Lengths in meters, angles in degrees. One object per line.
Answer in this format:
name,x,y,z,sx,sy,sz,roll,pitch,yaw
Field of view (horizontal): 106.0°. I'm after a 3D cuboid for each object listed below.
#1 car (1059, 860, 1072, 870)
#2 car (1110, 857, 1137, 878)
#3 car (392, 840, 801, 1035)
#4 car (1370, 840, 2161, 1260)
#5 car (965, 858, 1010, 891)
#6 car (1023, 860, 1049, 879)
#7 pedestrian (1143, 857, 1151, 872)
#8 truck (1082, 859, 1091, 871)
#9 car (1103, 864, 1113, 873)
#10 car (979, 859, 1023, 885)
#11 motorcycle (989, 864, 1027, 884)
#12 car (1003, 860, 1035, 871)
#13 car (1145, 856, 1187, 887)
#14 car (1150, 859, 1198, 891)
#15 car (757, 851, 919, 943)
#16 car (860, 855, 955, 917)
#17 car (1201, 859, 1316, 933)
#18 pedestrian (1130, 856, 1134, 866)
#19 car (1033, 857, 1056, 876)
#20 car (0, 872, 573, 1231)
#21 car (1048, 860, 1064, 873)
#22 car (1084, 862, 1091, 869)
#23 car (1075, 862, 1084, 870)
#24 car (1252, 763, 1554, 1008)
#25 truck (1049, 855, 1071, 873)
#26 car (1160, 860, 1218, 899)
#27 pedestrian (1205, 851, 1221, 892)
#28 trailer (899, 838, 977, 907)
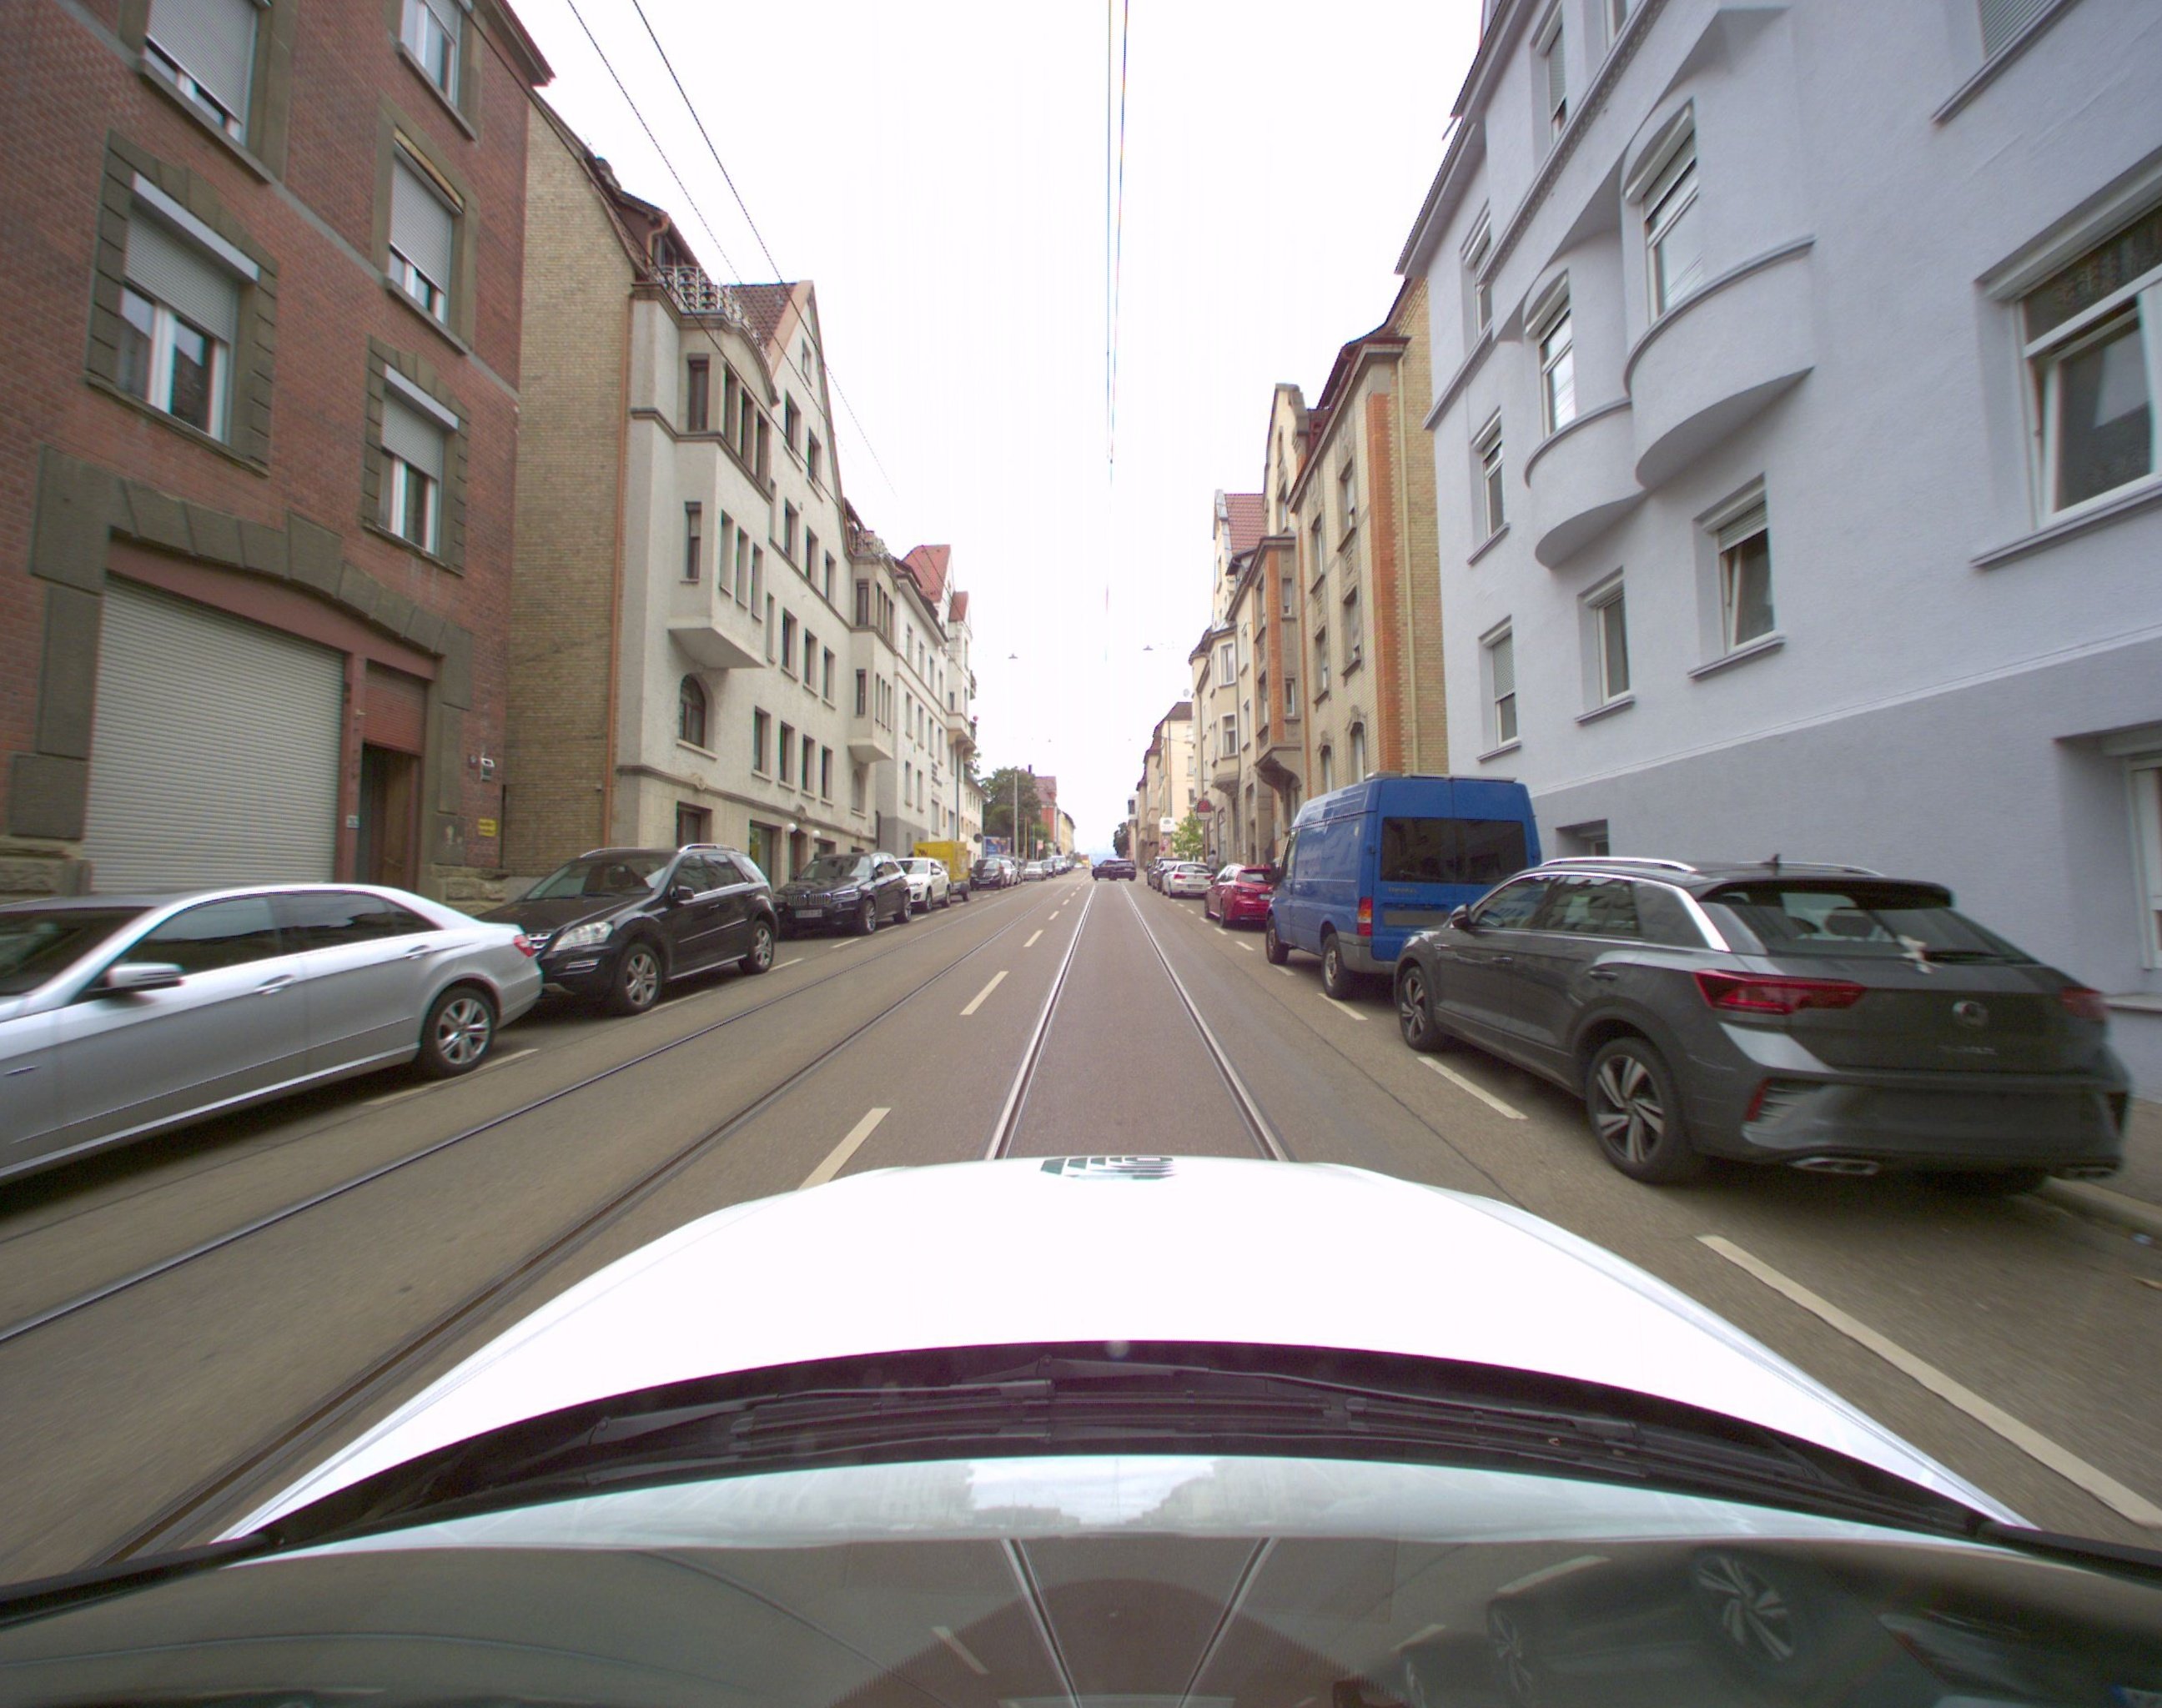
car,-2.241,1.548,119.172,1.705,1.446,4.292,0,0,2
car,3.200,1.015,62.251,1.986,1.563,4.292,0,0,2
car,-5.309,0.764,9.946,1.820,1.718,4.916,-3,0,2
car,3.488,0.770,5.233,1.773,1.530,4.193,3,0,1
car,-4.551,0.966,40.051,1.690,1.468,3.025,-3,-1,2
car,-3.734,1.263,67.837,1.690,1.556,3.853,0,0,3
pedestrian,7.509,1.158,92.727,0.867,1.686,0.663,-2,-1,0
truck,1.512,3.049,226.265,2.294,3.037,9.036,0,-1,2
car,4.780,2.584,146.416,1.666,1.513,3.797,-1,0,0
car,-4.397,0.987,45.221,1.772,1.357,4.295,-1,0,3
motorcycle,-4.336,1.175,48.326,2.093,1.134,0.769,-2,0,15
car,-7.683,1.392,101.601,3.862,1.357,1.688,0,0,1
car,4.536,0.913,43.887,1.730,1.537,4.572,2,0,-1
car,4.373,0.970,38.830,1.774,1.390,4.692,2,0,0
car,-5.120,0.806,17.963,1.866,1.664,4.894,-3,0,2
car,-5.047,0.882,24.306,1.690,1.594,4.270,-3,0,2
car,3.990,0.874,19.059,1.773,1.475,4.591,2,0,1
pedestrian,9.370,1.286,149.477,0.788,1.667,0.799,0,-1,4
car,-3.531,1.195,79.055,1.736,1.736,4.523,-2,-1,3
car,-5.468,0.921,4.707,1.820,1.429,4.842,-3,0,2
car,-2.997,1.497,97.283,1.691,1.433,4.481,-2,0,0
car,1.625,2.826,204.927,1.848,1.607,4.298,0,0,2
car,-0.356,2.491,172.267,1.848,1.607,4.298,0,0,2
car,3.656,0.337,10.445,1.986,2.376,5.057,0,-1,2
truck,-2.613,1.228,104.283,2.271,2.188,8.030,0,0,3
car,4.217,0.957,32.325,1.744,1.390,4.307,2,0,0
pedestrian,5.800,0.762,35.821,0.597,1.803,0.632,0,-1,1
trailer,-4.914,0.587,28.505,1.742,2.155,4.073,-3,0,2
